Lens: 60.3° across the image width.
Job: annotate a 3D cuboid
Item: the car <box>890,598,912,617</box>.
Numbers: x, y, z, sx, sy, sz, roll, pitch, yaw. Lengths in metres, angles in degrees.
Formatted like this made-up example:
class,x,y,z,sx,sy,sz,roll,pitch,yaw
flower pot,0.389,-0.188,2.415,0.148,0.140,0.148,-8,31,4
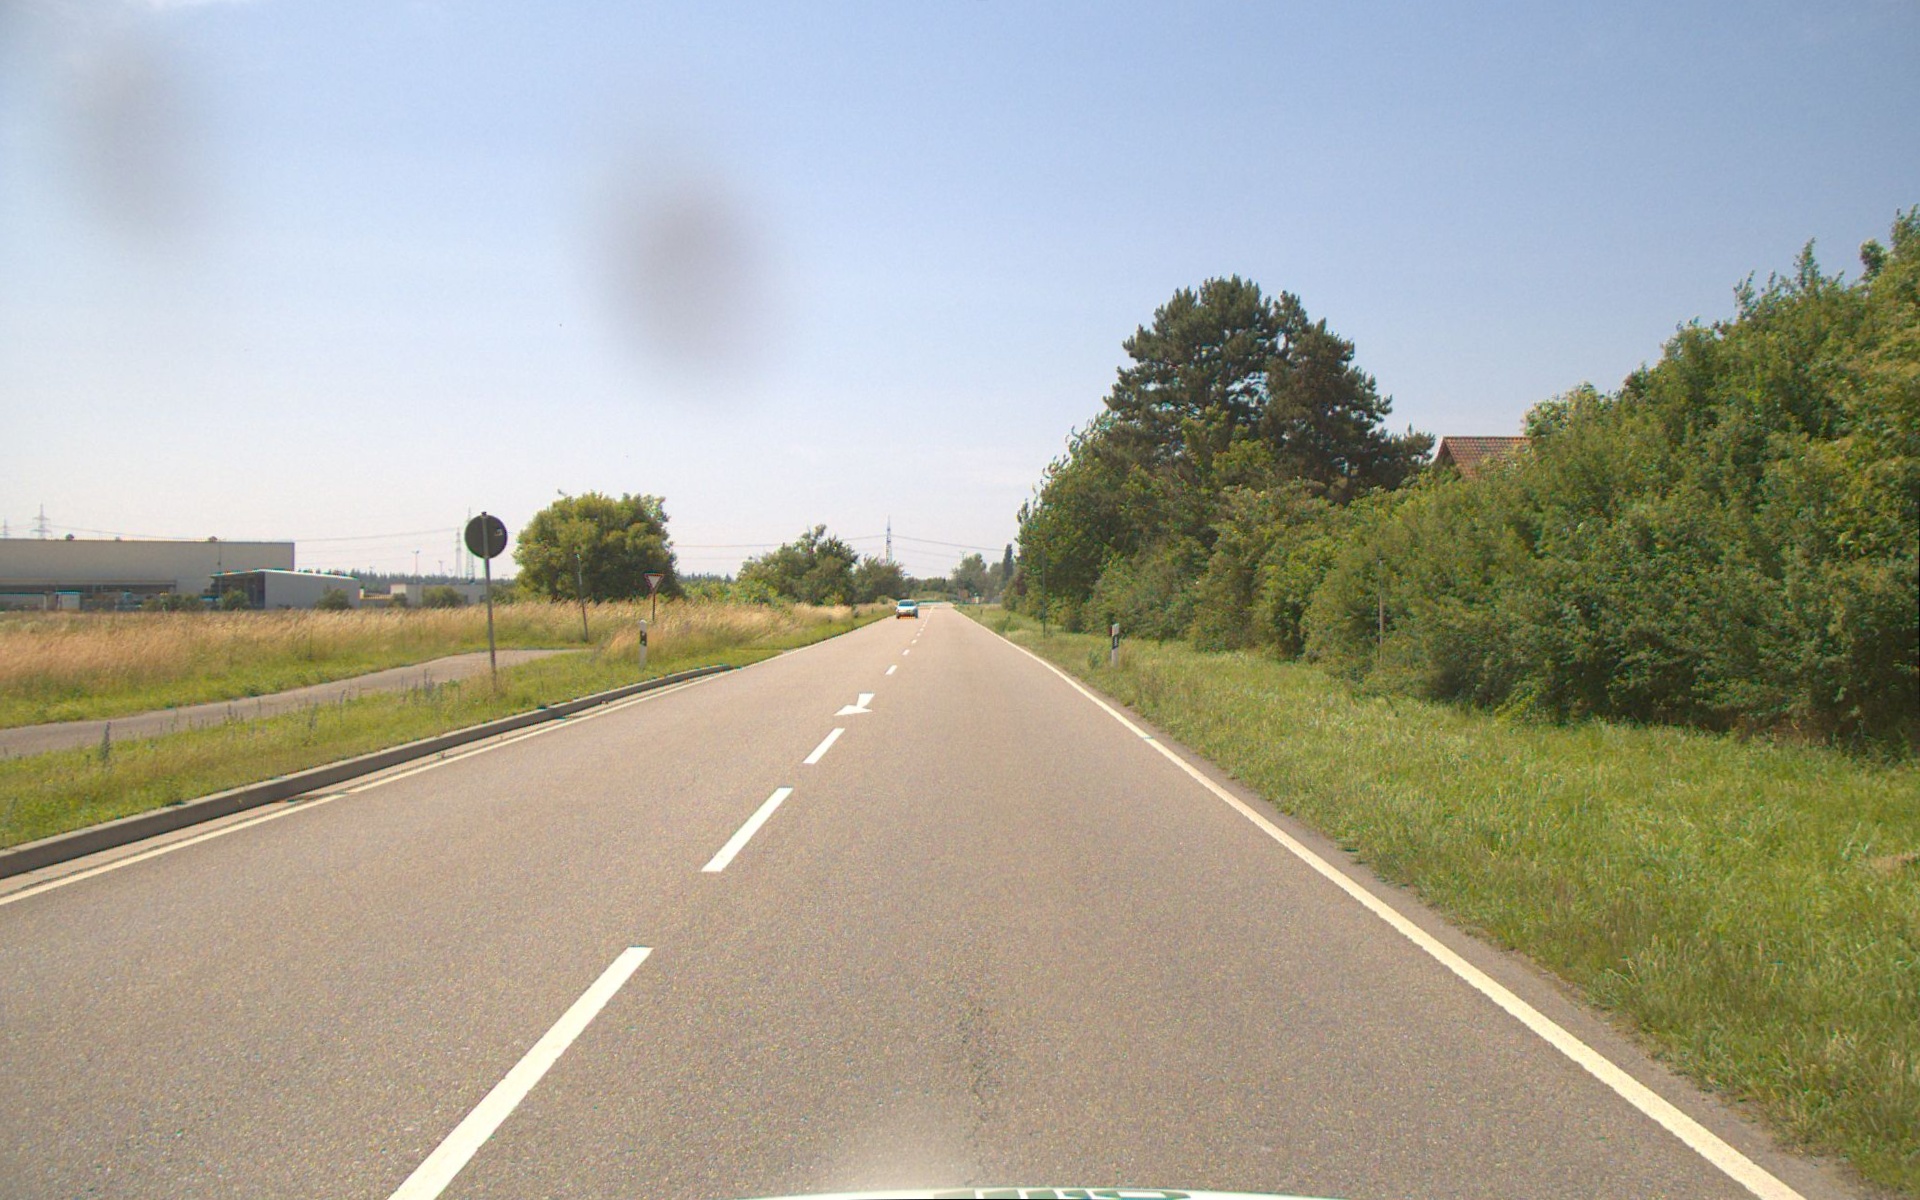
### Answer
class,x,y,z,sx,sy,sz,roll,pitch,yaw
car,-4.746,0.615,133.545,1.644,1.446,4.421,-2,0,-1
